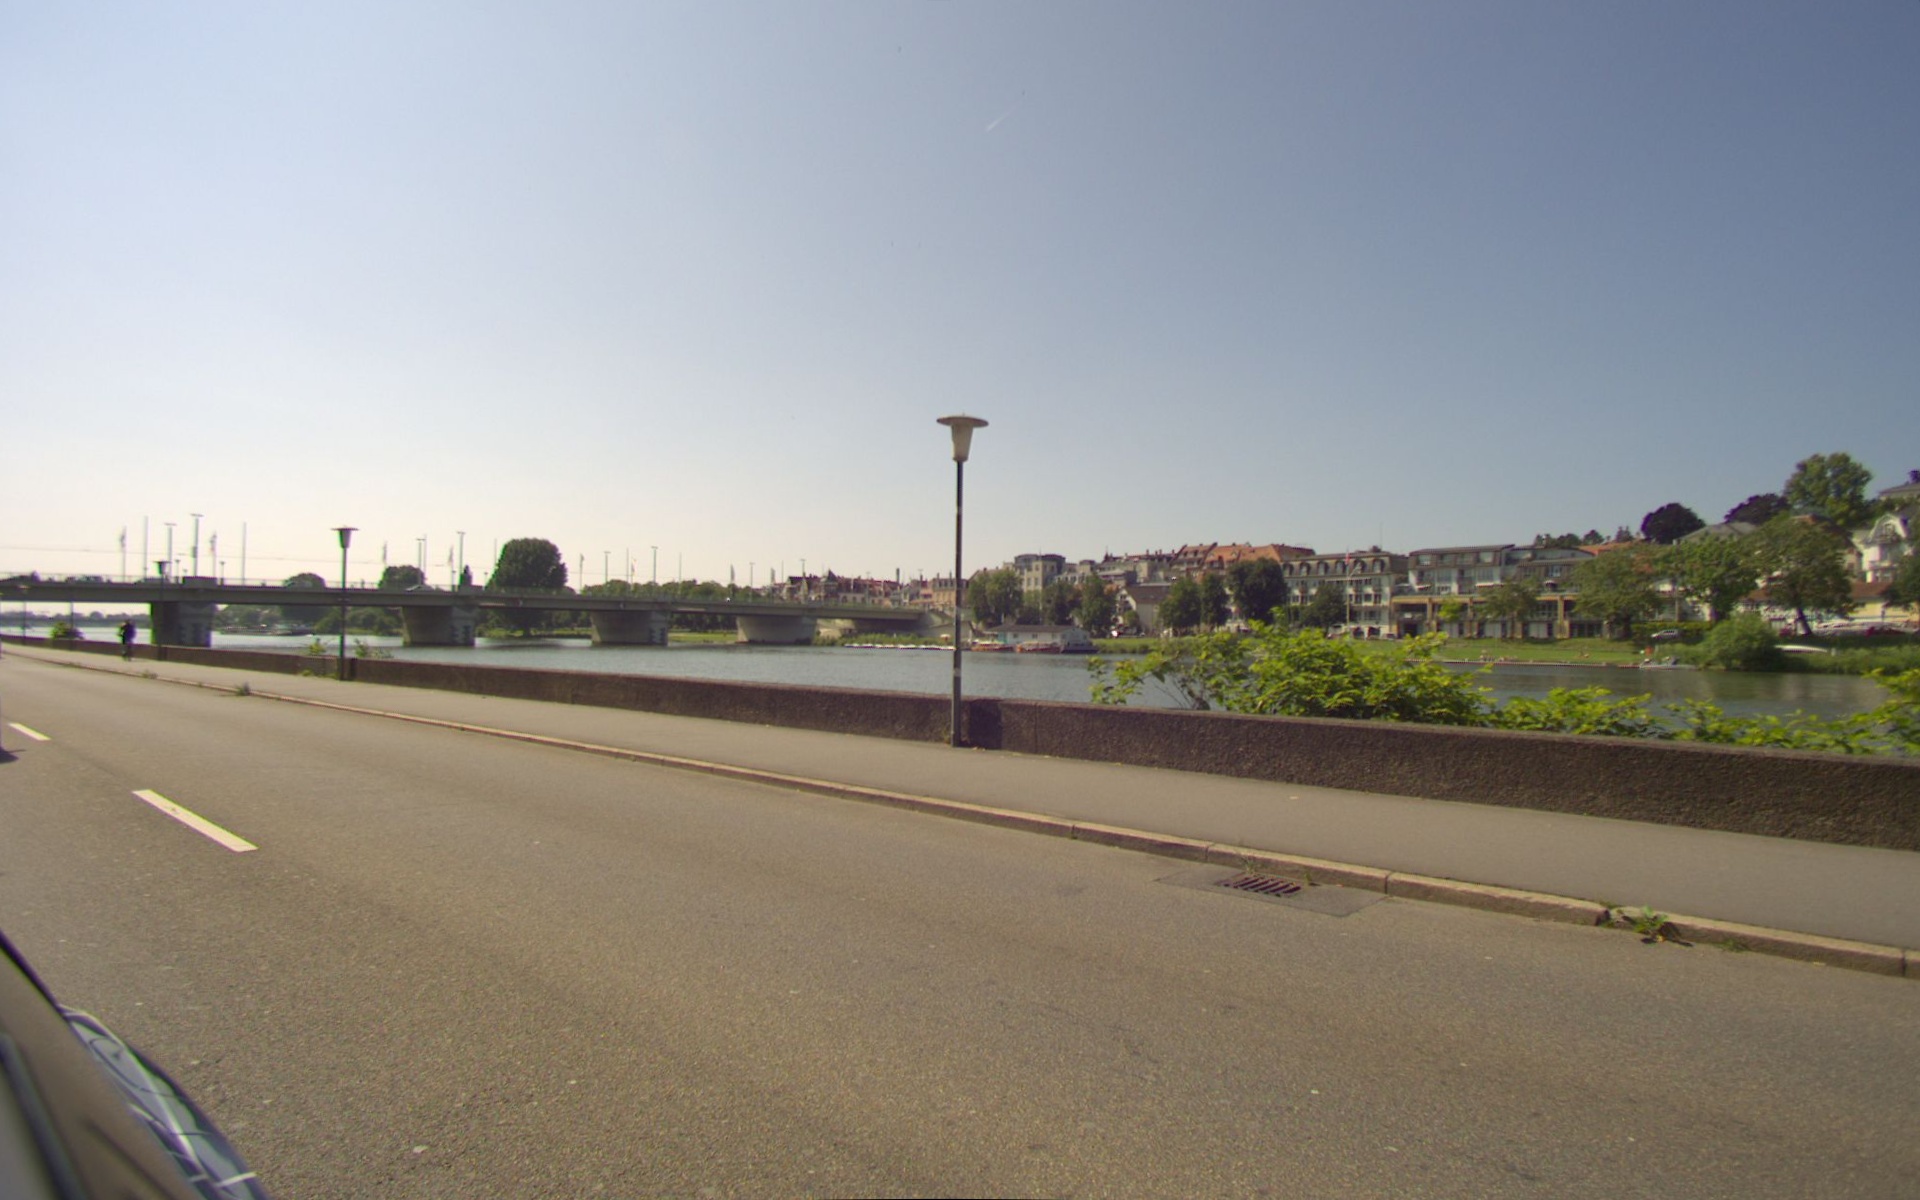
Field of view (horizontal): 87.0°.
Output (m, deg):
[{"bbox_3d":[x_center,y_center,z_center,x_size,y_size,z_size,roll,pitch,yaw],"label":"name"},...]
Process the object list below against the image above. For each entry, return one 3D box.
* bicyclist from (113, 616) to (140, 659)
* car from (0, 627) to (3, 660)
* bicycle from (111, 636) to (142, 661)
[{"bbox_3d":[-33.431,1.495,40.592,0.974,1.715,0.654,-1,-2,41],"label":"bicyclist"},{"bbox_3d":[-44.698,1.915,45.717,3.899,1.452,1.655,-1,-4,41],"label":"car"},{"bbox_3d":[-33.399,1.934,40.555,1.943,0.990,0.645,-1,-2,41],"label":"bicycle"}]
